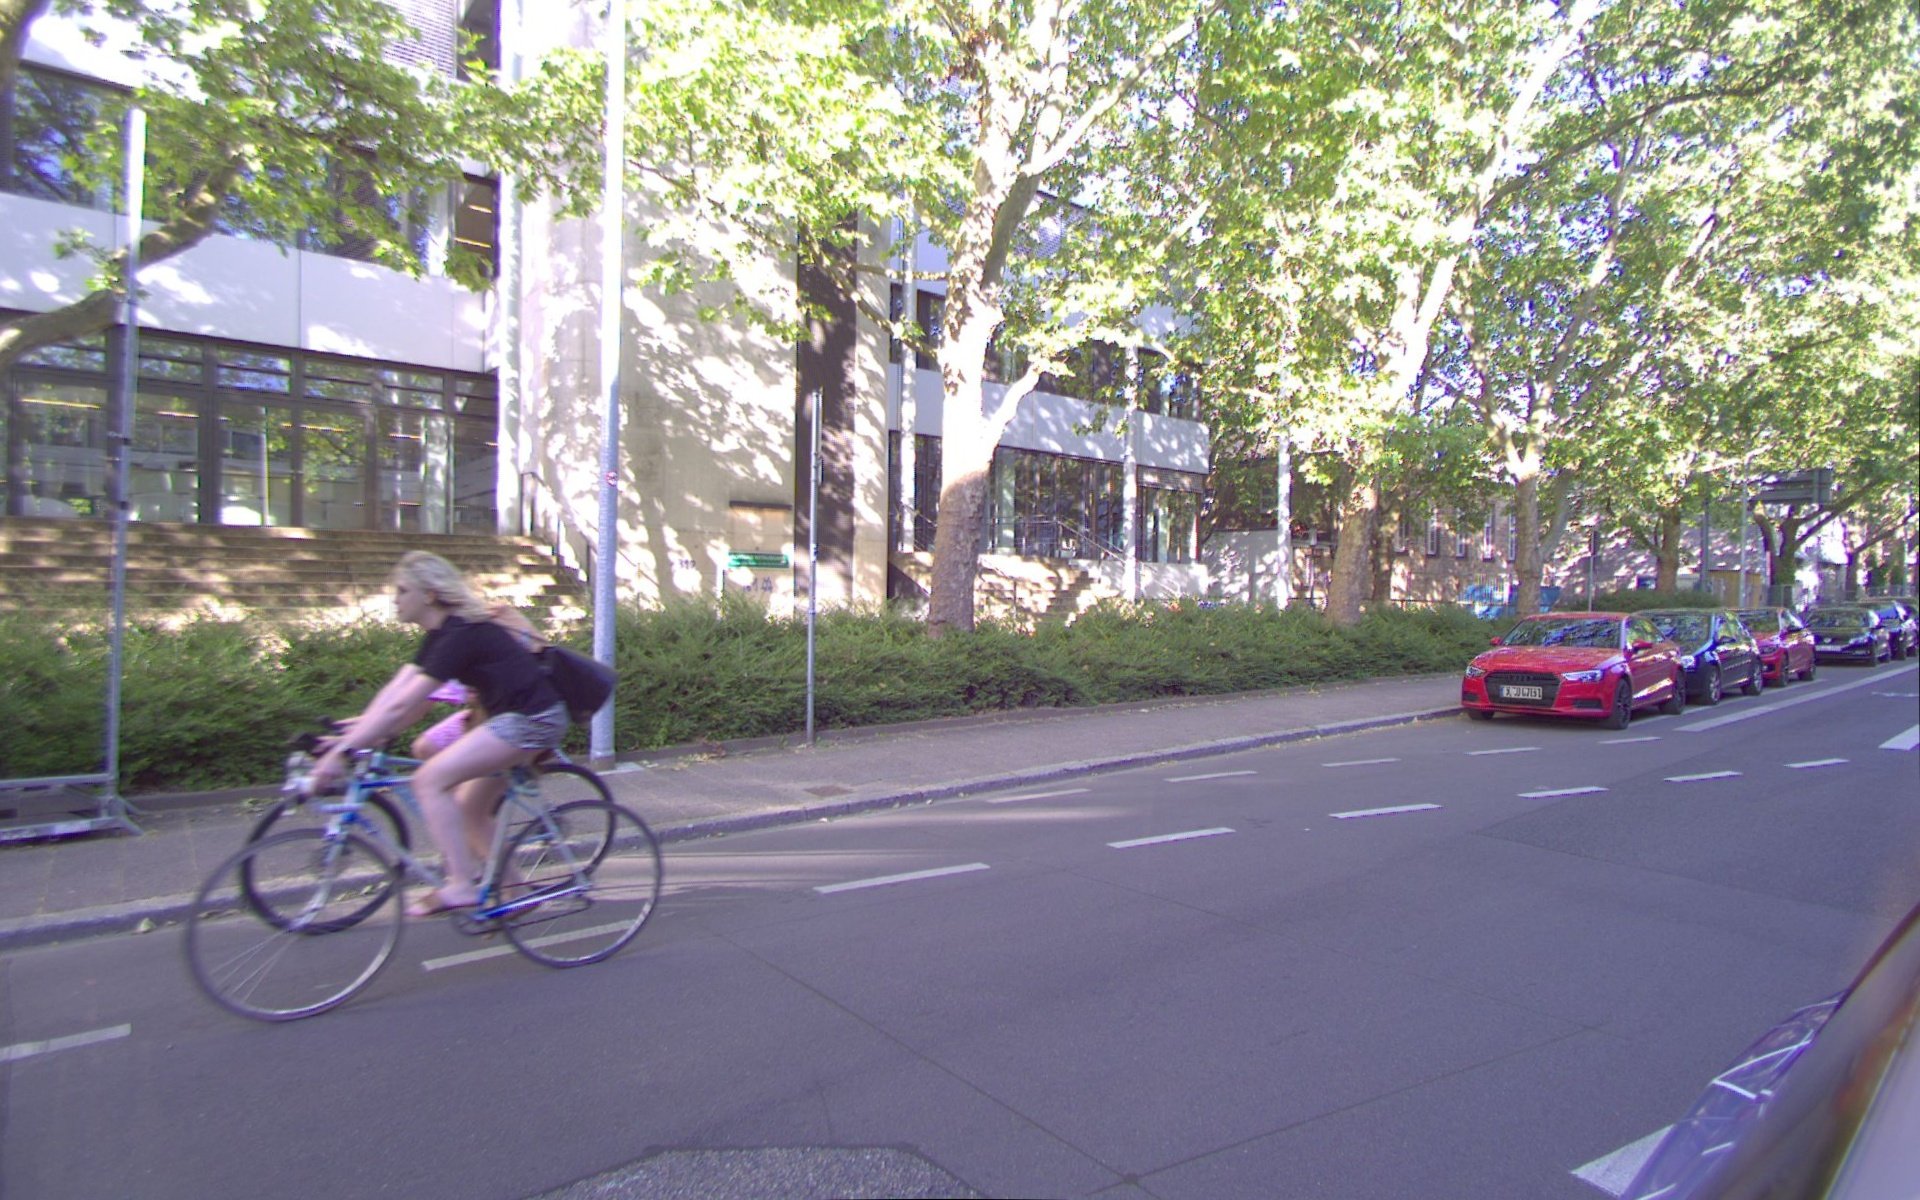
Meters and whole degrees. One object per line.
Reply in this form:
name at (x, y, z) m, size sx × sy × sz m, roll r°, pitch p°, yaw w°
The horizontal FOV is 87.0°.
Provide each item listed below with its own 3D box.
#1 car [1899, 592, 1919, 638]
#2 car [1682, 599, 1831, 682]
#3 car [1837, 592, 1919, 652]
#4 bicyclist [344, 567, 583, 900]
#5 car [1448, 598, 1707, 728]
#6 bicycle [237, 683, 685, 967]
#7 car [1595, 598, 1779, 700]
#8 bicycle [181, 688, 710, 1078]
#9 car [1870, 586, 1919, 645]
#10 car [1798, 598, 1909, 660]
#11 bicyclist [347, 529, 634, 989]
car at (35.940, 0.532, 37.226) m, size 3.777 × 1.675 × 1.634 m, roll 0°, pitch -1°, yaw -41°
car at (15.753, 0.725, 19.964) m, size 3.674 × 1.483 × 1.634 m, roll 0°, pitch -1°, yaw -41°
car at (26.592, 0.586, 29.020) m, size 3.777 × 1.607 × 1.634 m, roll 0°, pitch -1°, yaw -41°
bicyclist at (-2.375, 0.572, 4.861) m, size 0.915 × 1.420 × 0.601 m, roll 0°, pitch -1°, yaw -41°
car at (8.327, 0.724, 13.521) m, size 4.053 × 1.483 × 1.802 m, roll 0°, pitch -1°, yaw -41°
bicycle at (-2.323, 0.965, 4.877) m, size 1.848 × 0.997 × 0.601 m, roll 0°, pitch -1°, yaw -41°
car at (11.951, 0.719, 16.561) m, size 3.674 × 1.483 × 1.634 m, roll 0°, pitch -1°, yaw -41°
bicycle at (-1.871, 0.921, 3.847) m, size 1.701 × 1.039 × 0.611 m, roll 0°, pitch -1°, yaw -41°
car at (31.130, 0.476, 33.037) m, size 3.777 × 1.828 × 1.634 m, roll 0°, pitch -1°, yaw -41°
car at (22.990, 0.698, 26.006) m, size 3.674 × 1.483 × 1.634 m, roll 0°, pitch -1°, yaw -41°
bicyclist at (-1.801, 0.530, 3.902) m, size 0.874 × 1.535 × 0.611 m, roll 0°, pitch -1°, yaw -41°
